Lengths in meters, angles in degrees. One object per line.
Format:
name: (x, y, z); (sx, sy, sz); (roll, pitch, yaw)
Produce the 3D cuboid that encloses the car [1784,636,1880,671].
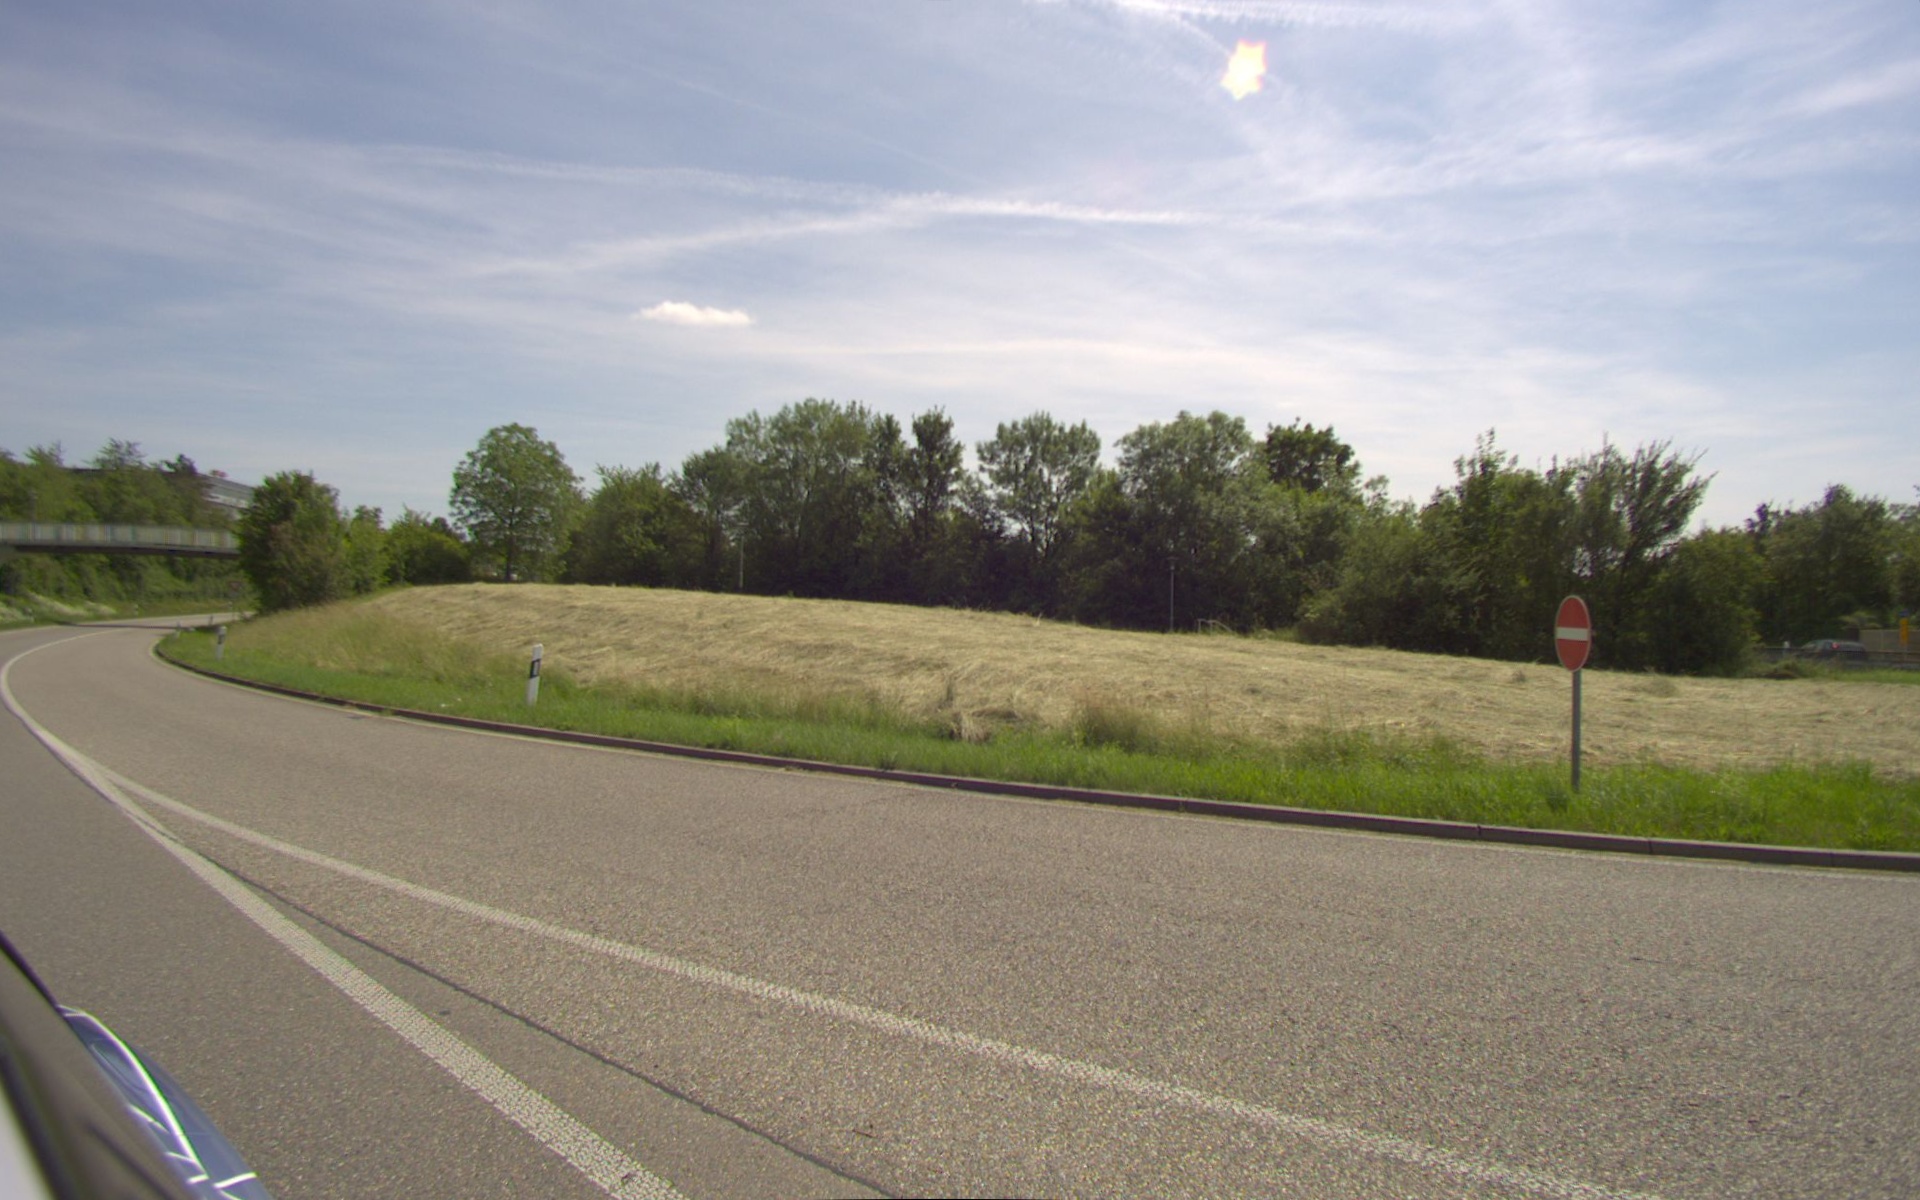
car: (42.608, 2.592, 49.591); (1.737, 1.550, 4.092); (0, -1, 11)
